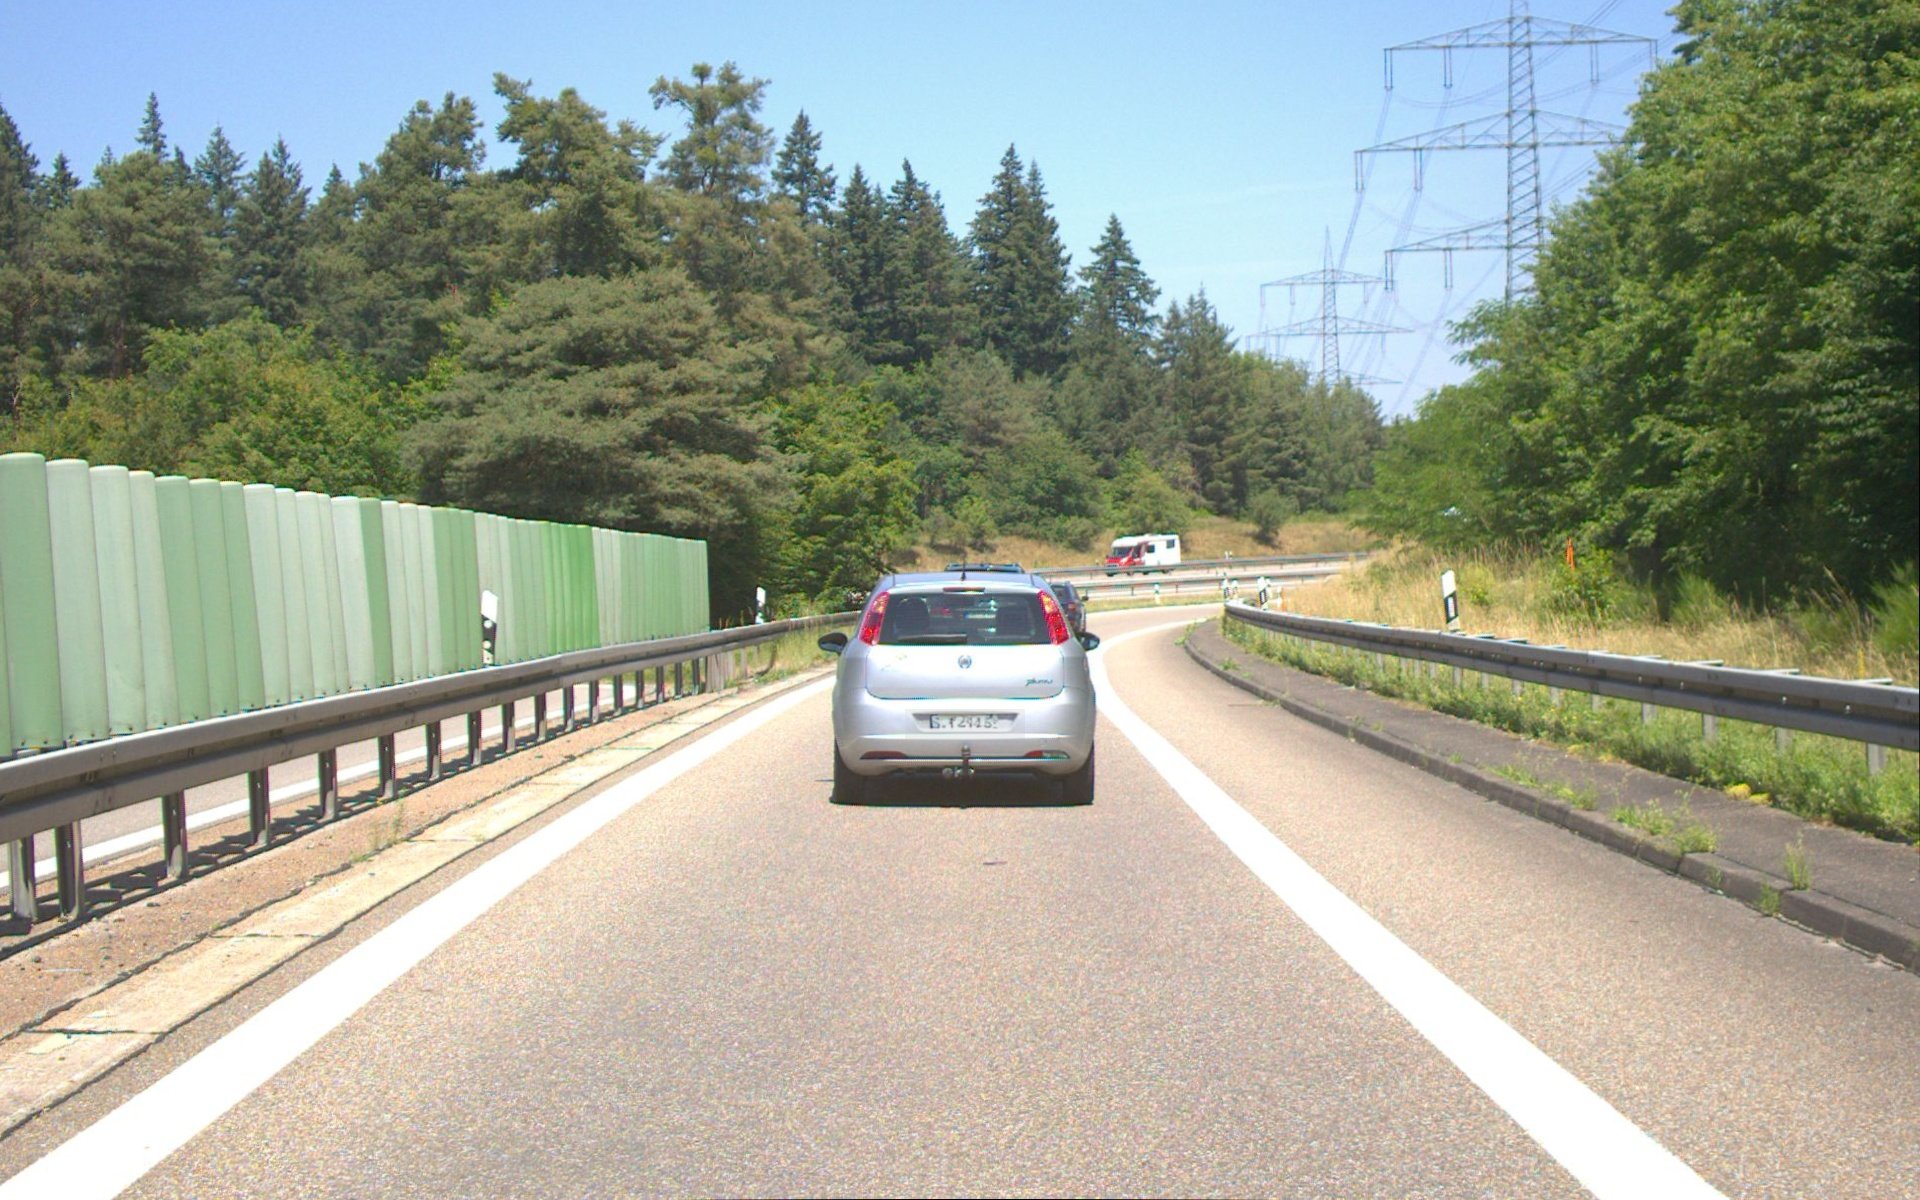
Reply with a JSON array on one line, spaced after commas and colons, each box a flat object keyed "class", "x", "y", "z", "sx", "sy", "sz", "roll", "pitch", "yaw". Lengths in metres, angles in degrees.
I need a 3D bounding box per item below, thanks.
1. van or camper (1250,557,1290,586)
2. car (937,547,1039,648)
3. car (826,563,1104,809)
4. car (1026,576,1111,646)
[{"class": "van or camper", "x": 16.463, "y": -1.536, "z": 182.577, "sx": 1.808, "sy": 1.481, "sz": 3.999, "roll": 0, "pitch": 1, "yaw": 10}, {"class": "car", "x": 0.459, "y": -0.073, "z": 59.381, "sx": 1.706, "sy": 1.670, "sz": 3.398, "roll": 0, "pitch": 1, "yaw": -1}, {"class": "car", "x": -0.027, "y": 0.511, "z": 22.778, "sx": 1.706, "sy": 1.476, "sz": 3.398, "roll": 0, "pitch": 1, "yaw": -2}, {"class": "car", "x": 2.850, "y": 0.274, "z": 89.598, "sx": 1.882, "sy": 1.678, "sz": 3.999, "roll": -3, "pitch": 0, "yaw": 6}]
